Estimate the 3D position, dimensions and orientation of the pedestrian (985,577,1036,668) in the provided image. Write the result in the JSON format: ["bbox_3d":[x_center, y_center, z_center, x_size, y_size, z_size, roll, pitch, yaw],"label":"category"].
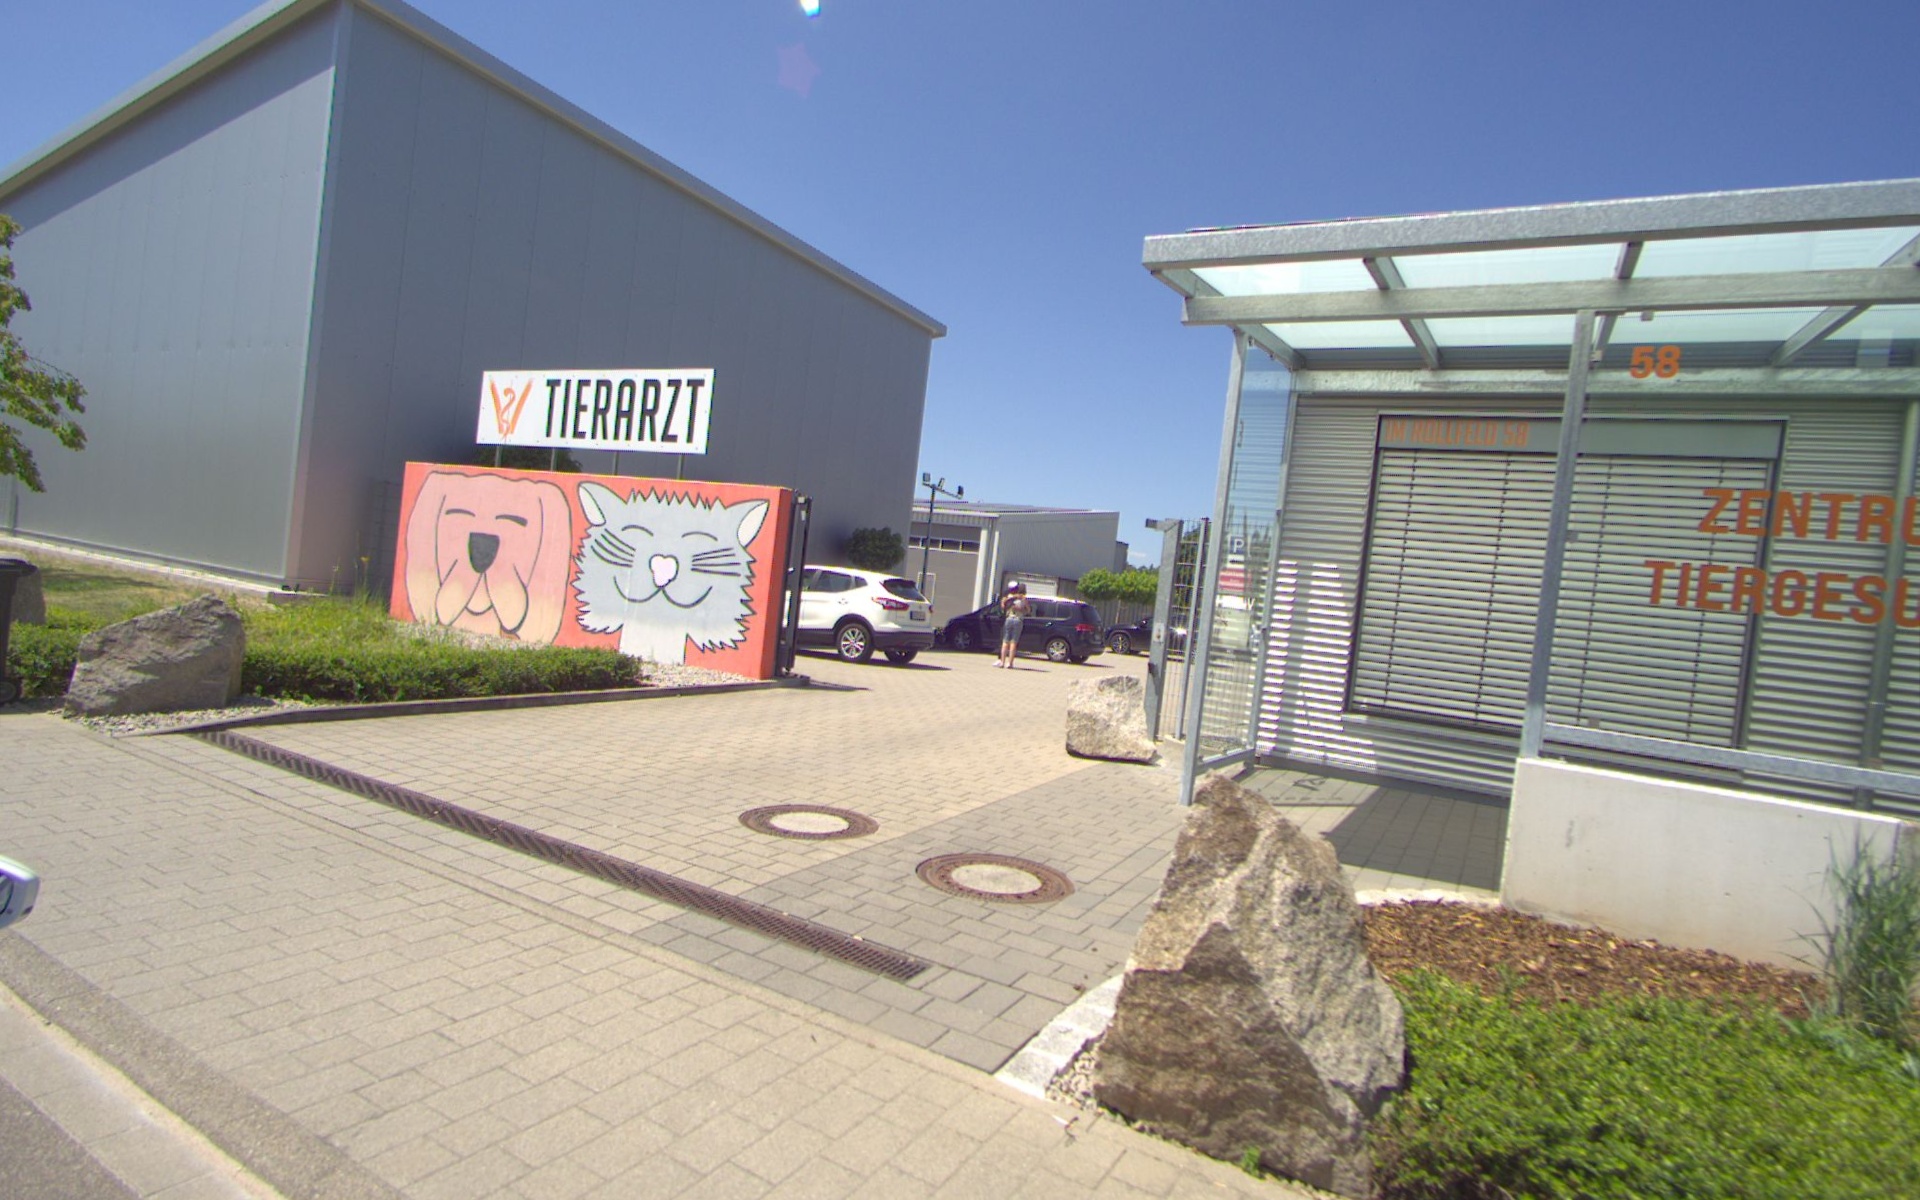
[{"bbox_3d":[1.033,0.461,20.537,0.760,1.747,0.700,7,1,9],"label":"pedestrian"}]

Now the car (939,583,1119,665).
[{"bbox_3d":[1.851,0.652,27.021,4.274,1.698,1.998,6,0,25],"label":"car"}]

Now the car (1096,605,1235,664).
[{"bbox_3d":[7.236,1.222,35.444,4.276,1.561,1.997,6,0,28],"label":"car"}]

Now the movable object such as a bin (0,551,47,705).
[{"bbox_3d":[-6.385,0.164,6.480,0.530,0.959,0.559,7,2,28],"label":"movable object such as a bin"}]

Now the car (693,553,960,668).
[{"bbox_3d":[-2.414,0.187,18.169,4.274,1.561,1.998,6,0,25],"label":"car"}]

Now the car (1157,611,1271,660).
[{"bbox_3d":[10.757,1.505,42.623,4.236,1.561,1.997,6,0,28],"label":"car"}]
